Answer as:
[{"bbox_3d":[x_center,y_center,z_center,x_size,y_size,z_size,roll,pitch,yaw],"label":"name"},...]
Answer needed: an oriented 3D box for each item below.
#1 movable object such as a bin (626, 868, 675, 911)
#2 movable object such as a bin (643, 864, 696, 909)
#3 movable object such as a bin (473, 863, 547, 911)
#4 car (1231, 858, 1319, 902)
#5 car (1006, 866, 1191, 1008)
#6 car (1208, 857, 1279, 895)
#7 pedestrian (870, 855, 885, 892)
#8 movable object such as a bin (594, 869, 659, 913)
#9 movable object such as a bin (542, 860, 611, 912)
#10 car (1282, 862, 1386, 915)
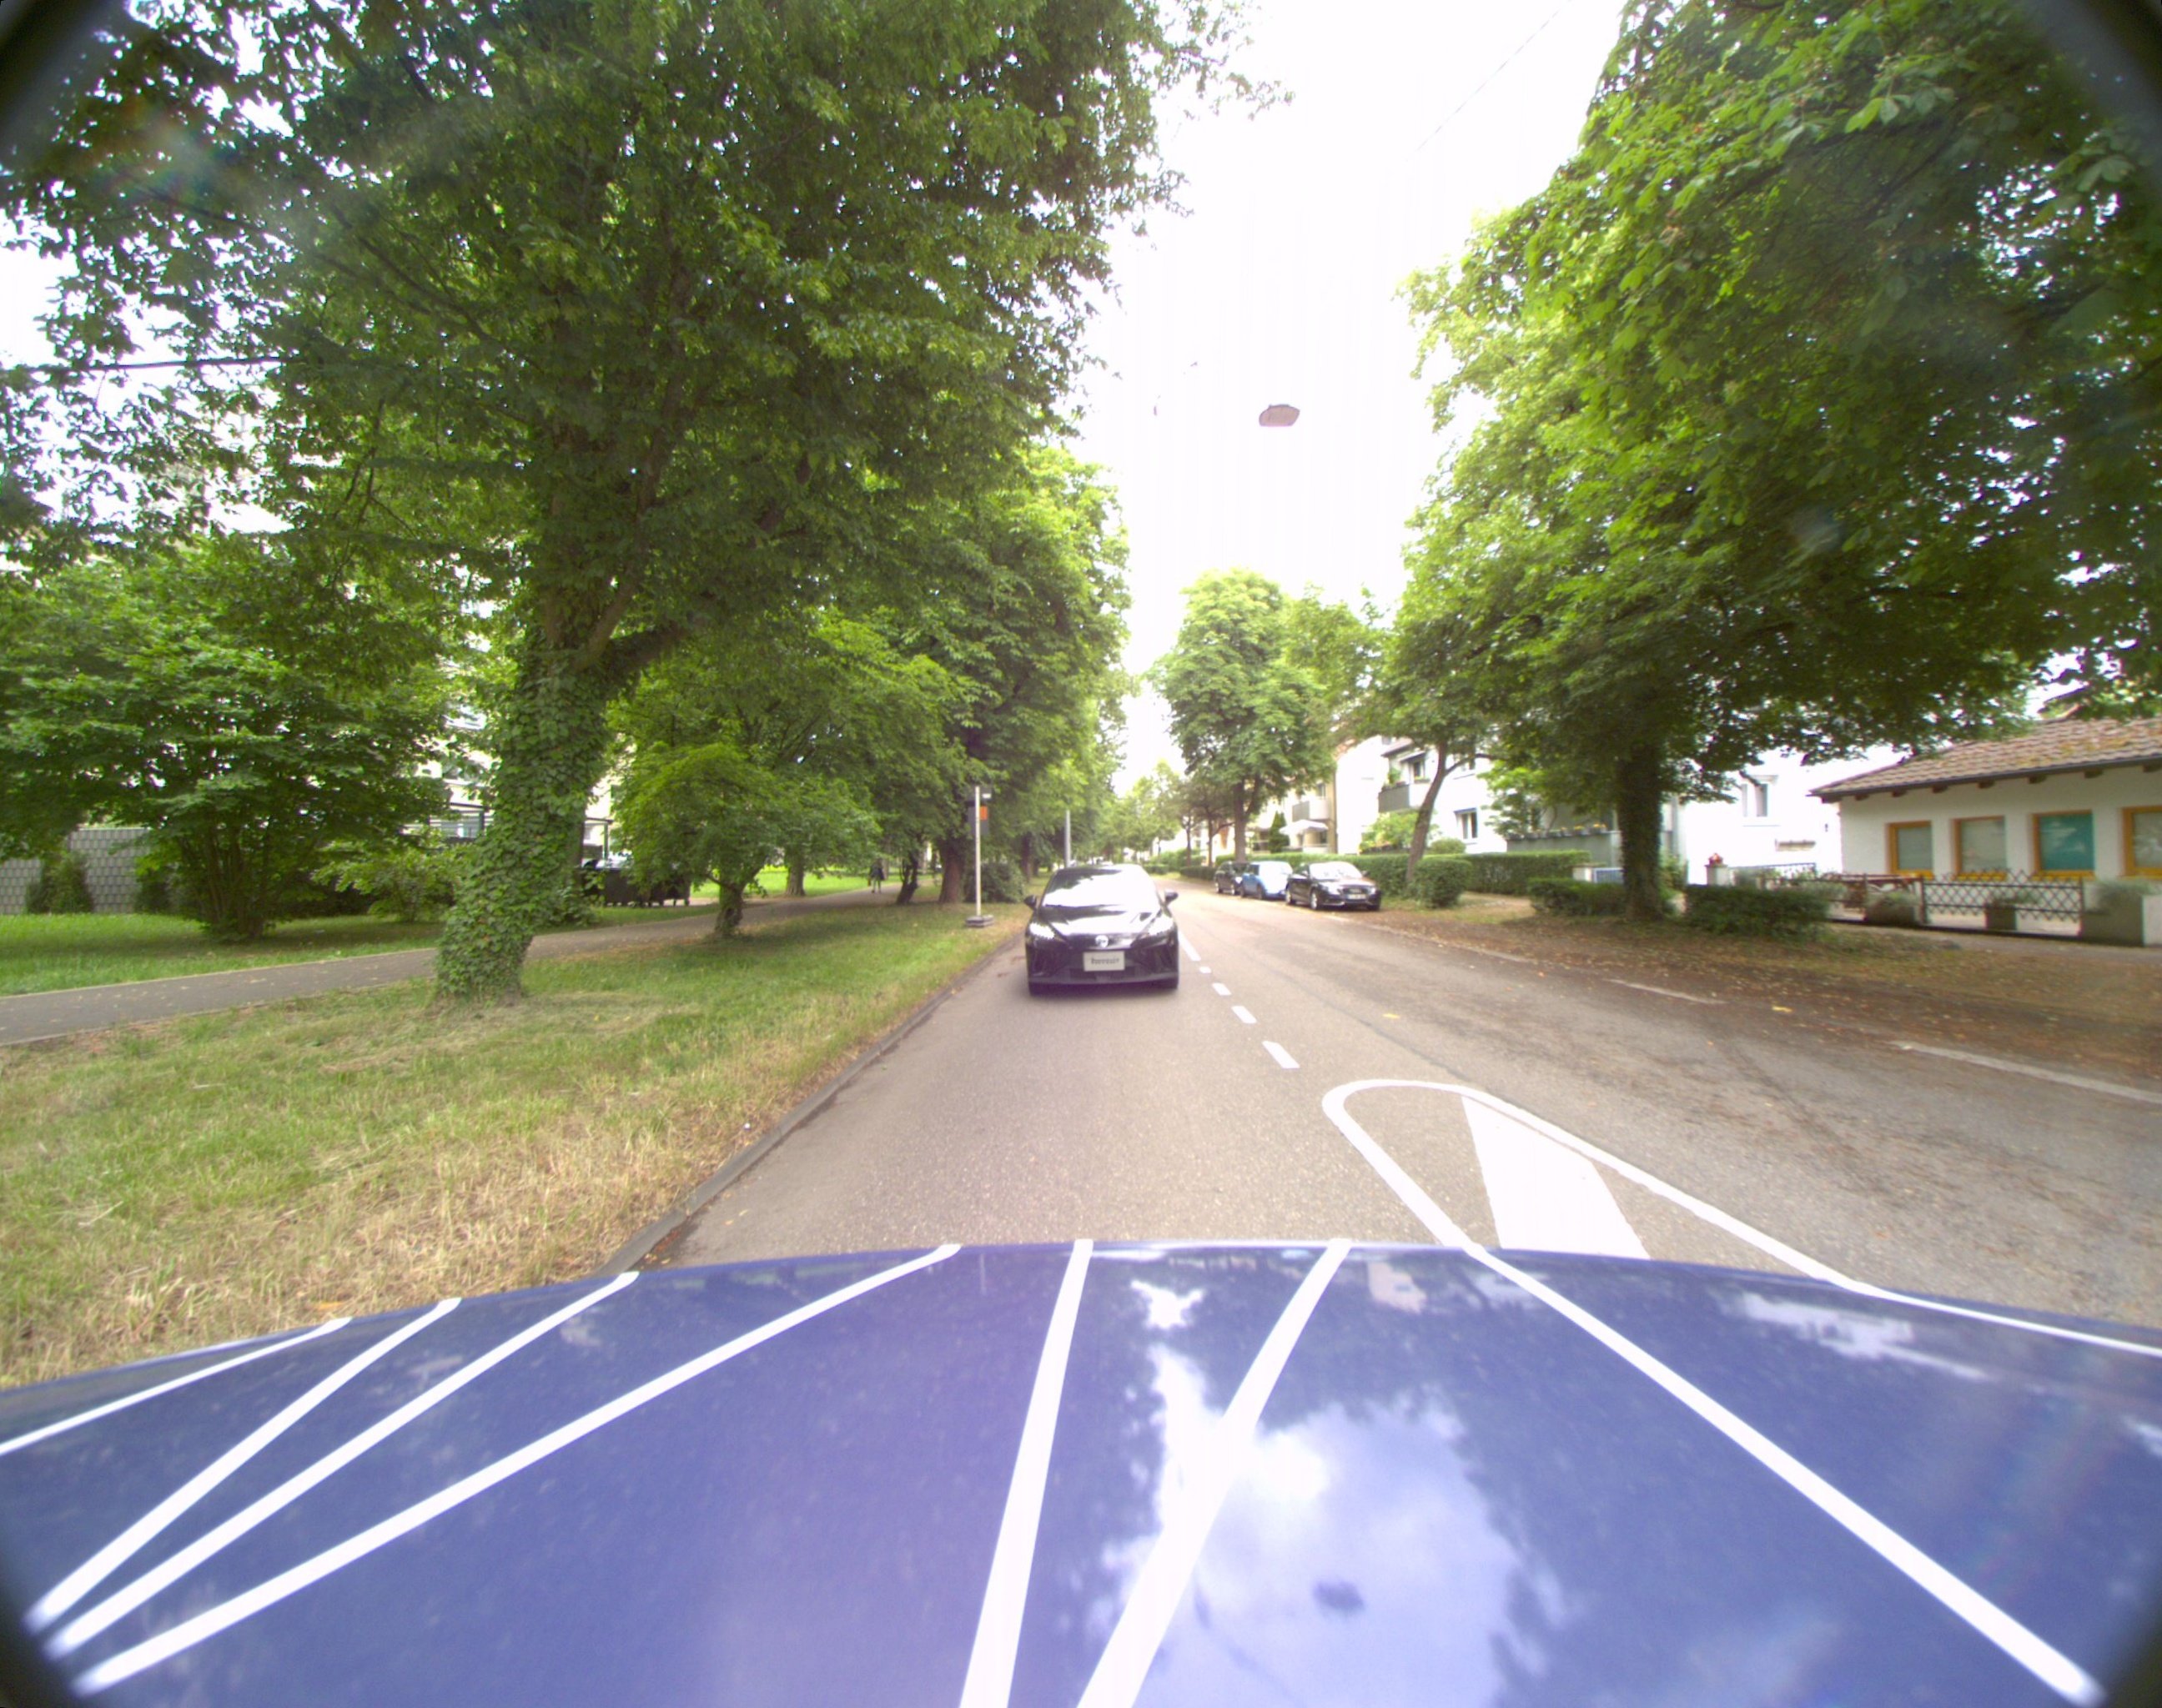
[{"bbox_3d":[-13.286,1.078,23.475,1.026,1.296,0.960,0,0,-8],"label":"movable object such as a bin"},{"bbox_3d":[-13.291,1.020,24.569,1.194,1.405,1.110,0,0,-8],"label":"movable object such as a bin"},{"bbox_3d":[-16.558,0.926,22.077,1.194,1.333,1.348,0,0,-8],"label":"movable object such as a bin"},{"bbox_3d":[7.153,0.912,28.527,1.889,1.492,4.565,0,0,-3],"label":"car"},{"bbox_3d":[0.209,0.937,10.510,1.998,1.491,4.615,0,0,0],"label":"car"},{"bbox_3d":[7.015,0.920,33.281,1.889,1.524,4.565,0,0,-3],"label":"car"},{"bbox_3d":[-9.592,0.900,35.840,0.565,1.730,0.570,1,0,0],"label":"pedestrian"},{"bbox_3d":[-13.300,1.058,22.277,1.194,1.213,1.348,0,0,-8],"label":"movable object such as a bin"},{"bbox_3d":[-14.617,0.902,22.082,1.194,1.448,1.348,0,0,-8],"label":"movable object such as a bin"},{"bbox_3d":[7.361,0.940,22.506,1.735,1.394,4.172,0,0,1],"label":"car"}]
